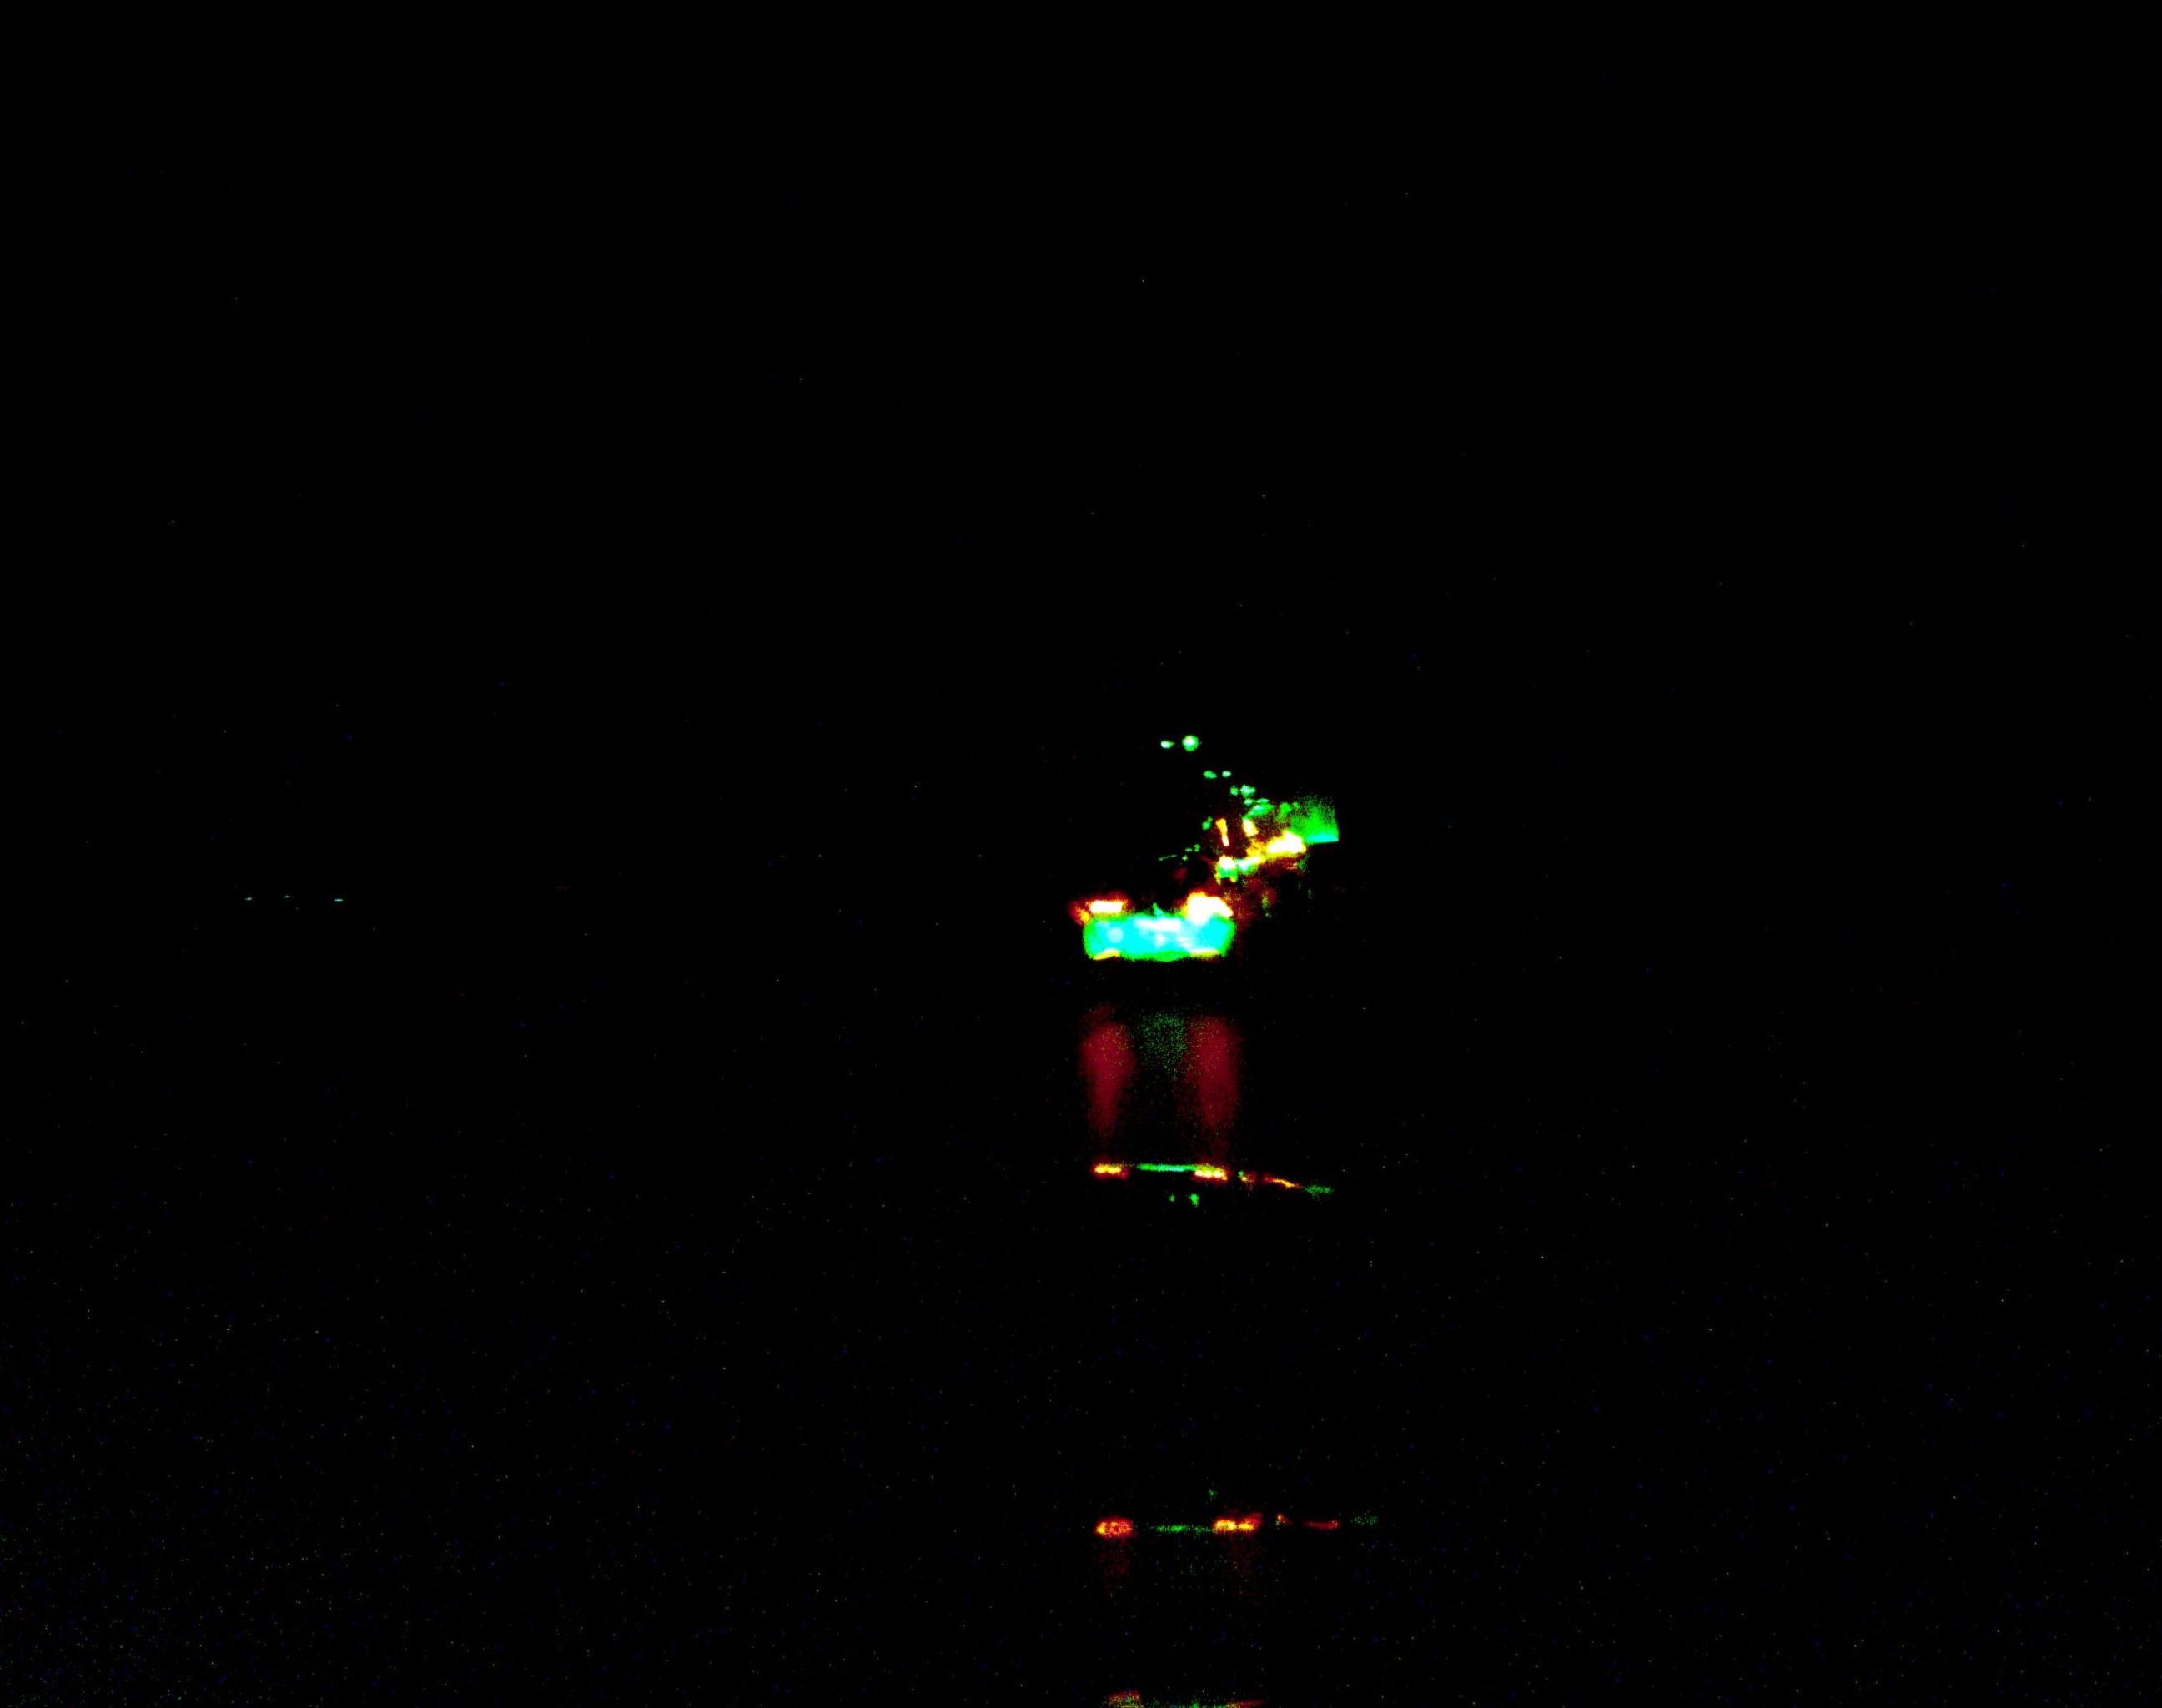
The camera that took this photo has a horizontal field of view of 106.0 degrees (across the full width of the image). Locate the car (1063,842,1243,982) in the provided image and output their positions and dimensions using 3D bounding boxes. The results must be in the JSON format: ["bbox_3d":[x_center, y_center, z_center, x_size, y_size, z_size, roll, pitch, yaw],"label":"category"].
[{"bbox_3d":[1.098,0.643,10.770,1.932,1.491,3.726,-2,0,10],"label":"car"}]

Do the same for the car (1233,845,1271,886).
[{"bbox_3d":[8.707,0.576,41.717,1.824,1.948,4.011,-1,-1,10],"label":"car"}]

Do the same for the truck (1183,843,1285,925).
[{"bbox_3d":[5.644,0.957,28.977,3.047,2.528,7.194,-1,-1,15],"label":"truck"}]

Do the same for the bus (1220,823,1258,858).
[{"bbox_3d":[15.062,-1.263,76.999,2.723,3.123,9.240,-1,1,16],"label":"bus"}]
